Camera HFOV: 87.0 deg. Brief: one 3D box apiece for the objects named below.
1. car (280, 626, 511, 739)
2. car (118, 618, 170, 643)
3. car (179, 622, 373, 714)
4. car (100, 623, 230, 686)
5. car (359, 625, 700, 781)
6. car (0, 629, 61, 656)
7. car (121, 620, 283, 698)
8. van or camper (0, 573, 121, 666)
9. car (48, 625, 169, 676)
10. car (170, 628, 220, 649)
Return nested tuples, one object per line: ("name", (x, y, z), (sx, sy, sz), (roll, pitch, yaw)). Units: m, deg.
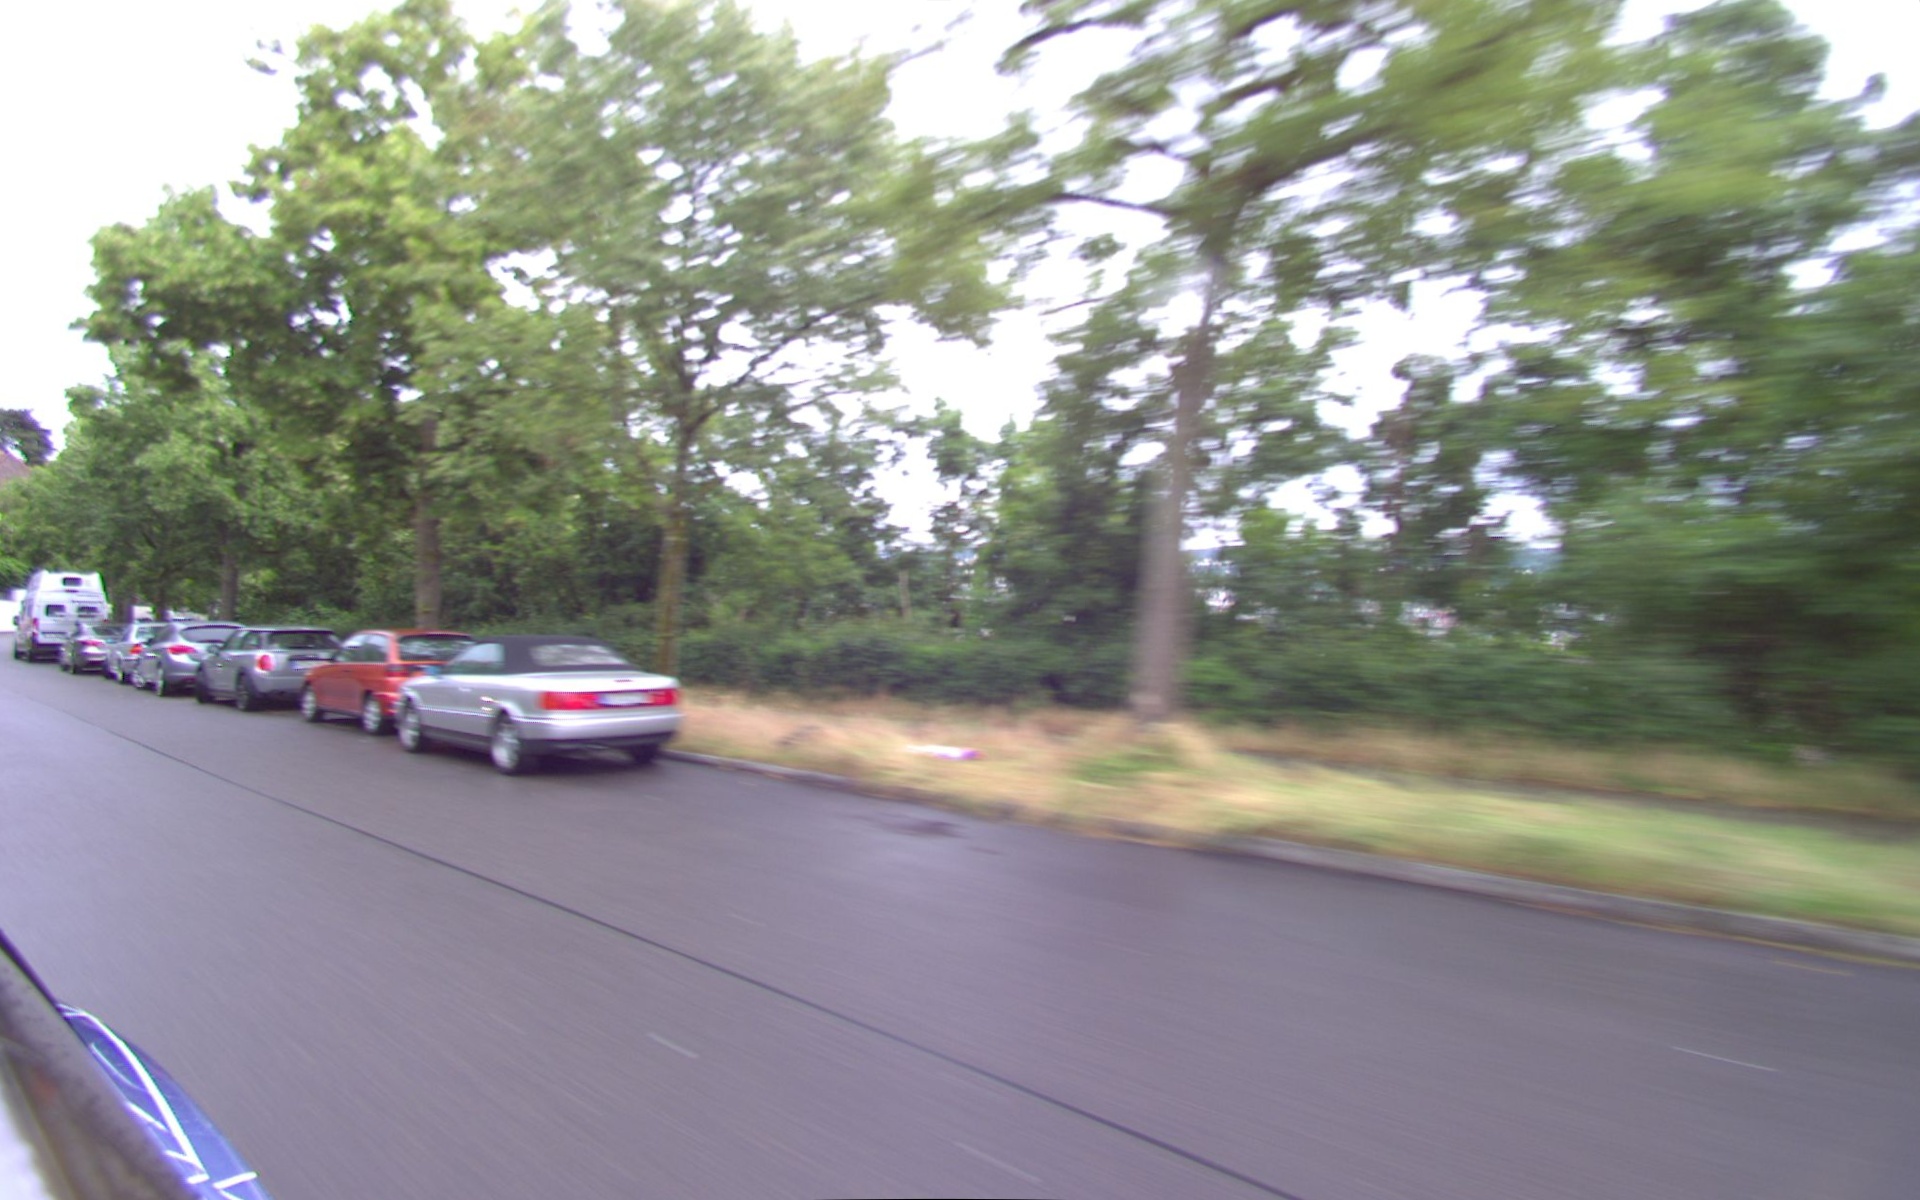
("car", (-8.311, 1.102, 14.760), (3.997, 1.372, 1.579), (0, -1, 39))
("car", (-55.008, 2.035, 68.259), (1.660, 1.521, 4.220), (5, -3, -25))
("car", (-12.581, 1.149, 18.482), (4.715, 1.416, 1.971), (0, -3, 44))
("car", (-19.623, 1.314, 24.894), (1.970, 1.416, 4.717), (3, -4, -44))
("car", (-4.940, 1.073, 11.315), (4.417, 1.413, 1.736), (-3, -6, 42))
("car", (-54.011, 2.451, 58.764), (1.857, 1.413, 4.269), (1, -1, -31))
("car", (-16.136, 1.189, 21.451), (4.715, 1.416, 1.971), (0, -3, 44))
("van or camper", (-32.244, 0.691, 36.207), (6.560, 3.050, 2.479), (0, -2, 42))
("car", (-24.241, 1.431, 28.726), (5.355, 1.319, 1.971), (-2, -4, 43))
("car", (-58.657, 2.979, 77.675), (1.632, 1.440, 4.388), (3, -3, -18))
